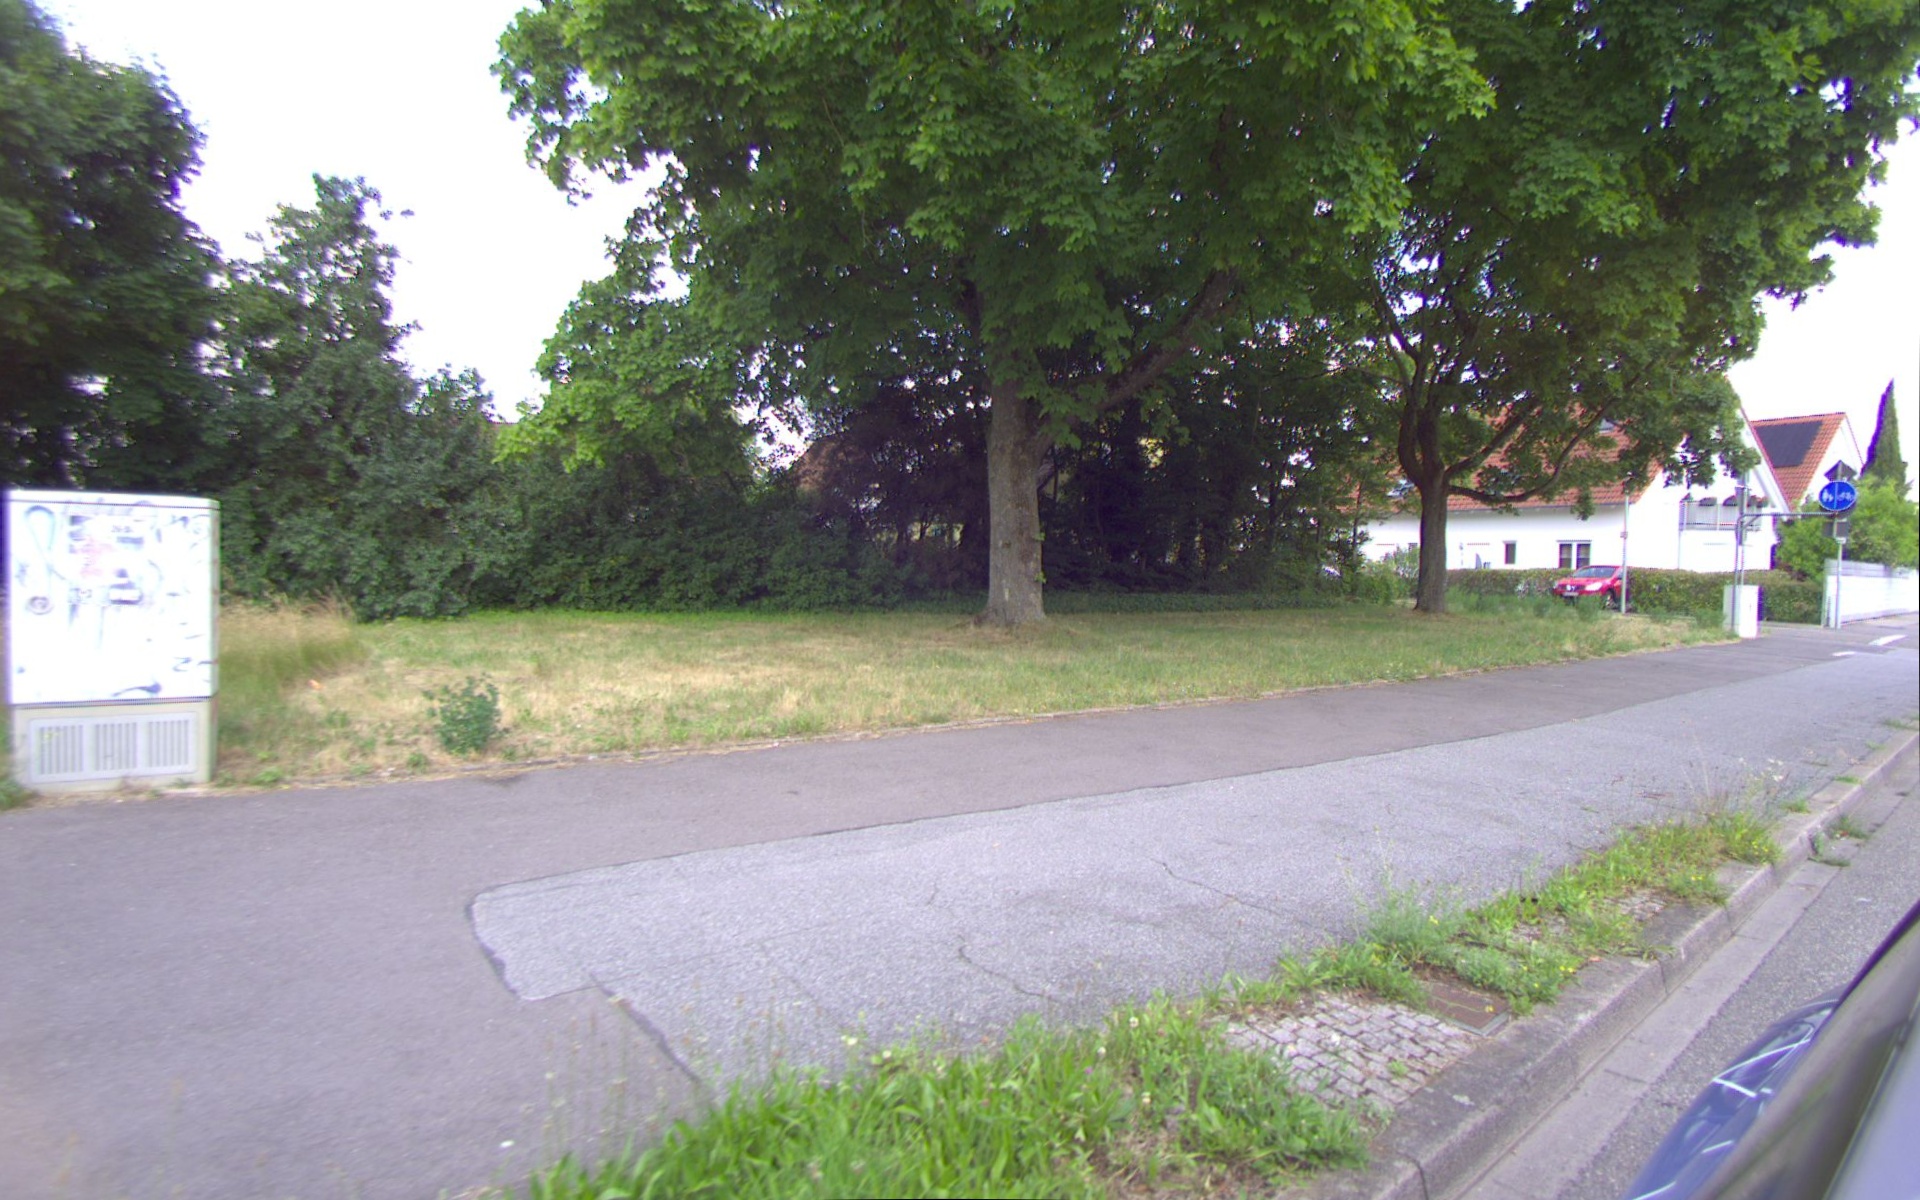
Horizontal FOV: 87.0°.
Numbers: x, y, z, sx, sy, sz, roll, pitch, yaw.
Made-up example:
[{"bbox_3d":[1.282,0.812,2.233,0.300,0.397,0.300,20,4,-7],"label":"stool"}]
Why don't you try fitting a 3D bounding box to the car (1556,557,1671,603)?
[{"bbox_3d":[23.290,-0.698,36.040,4.306,1.549,1.684,0,2,-31],"label":"car"}]
